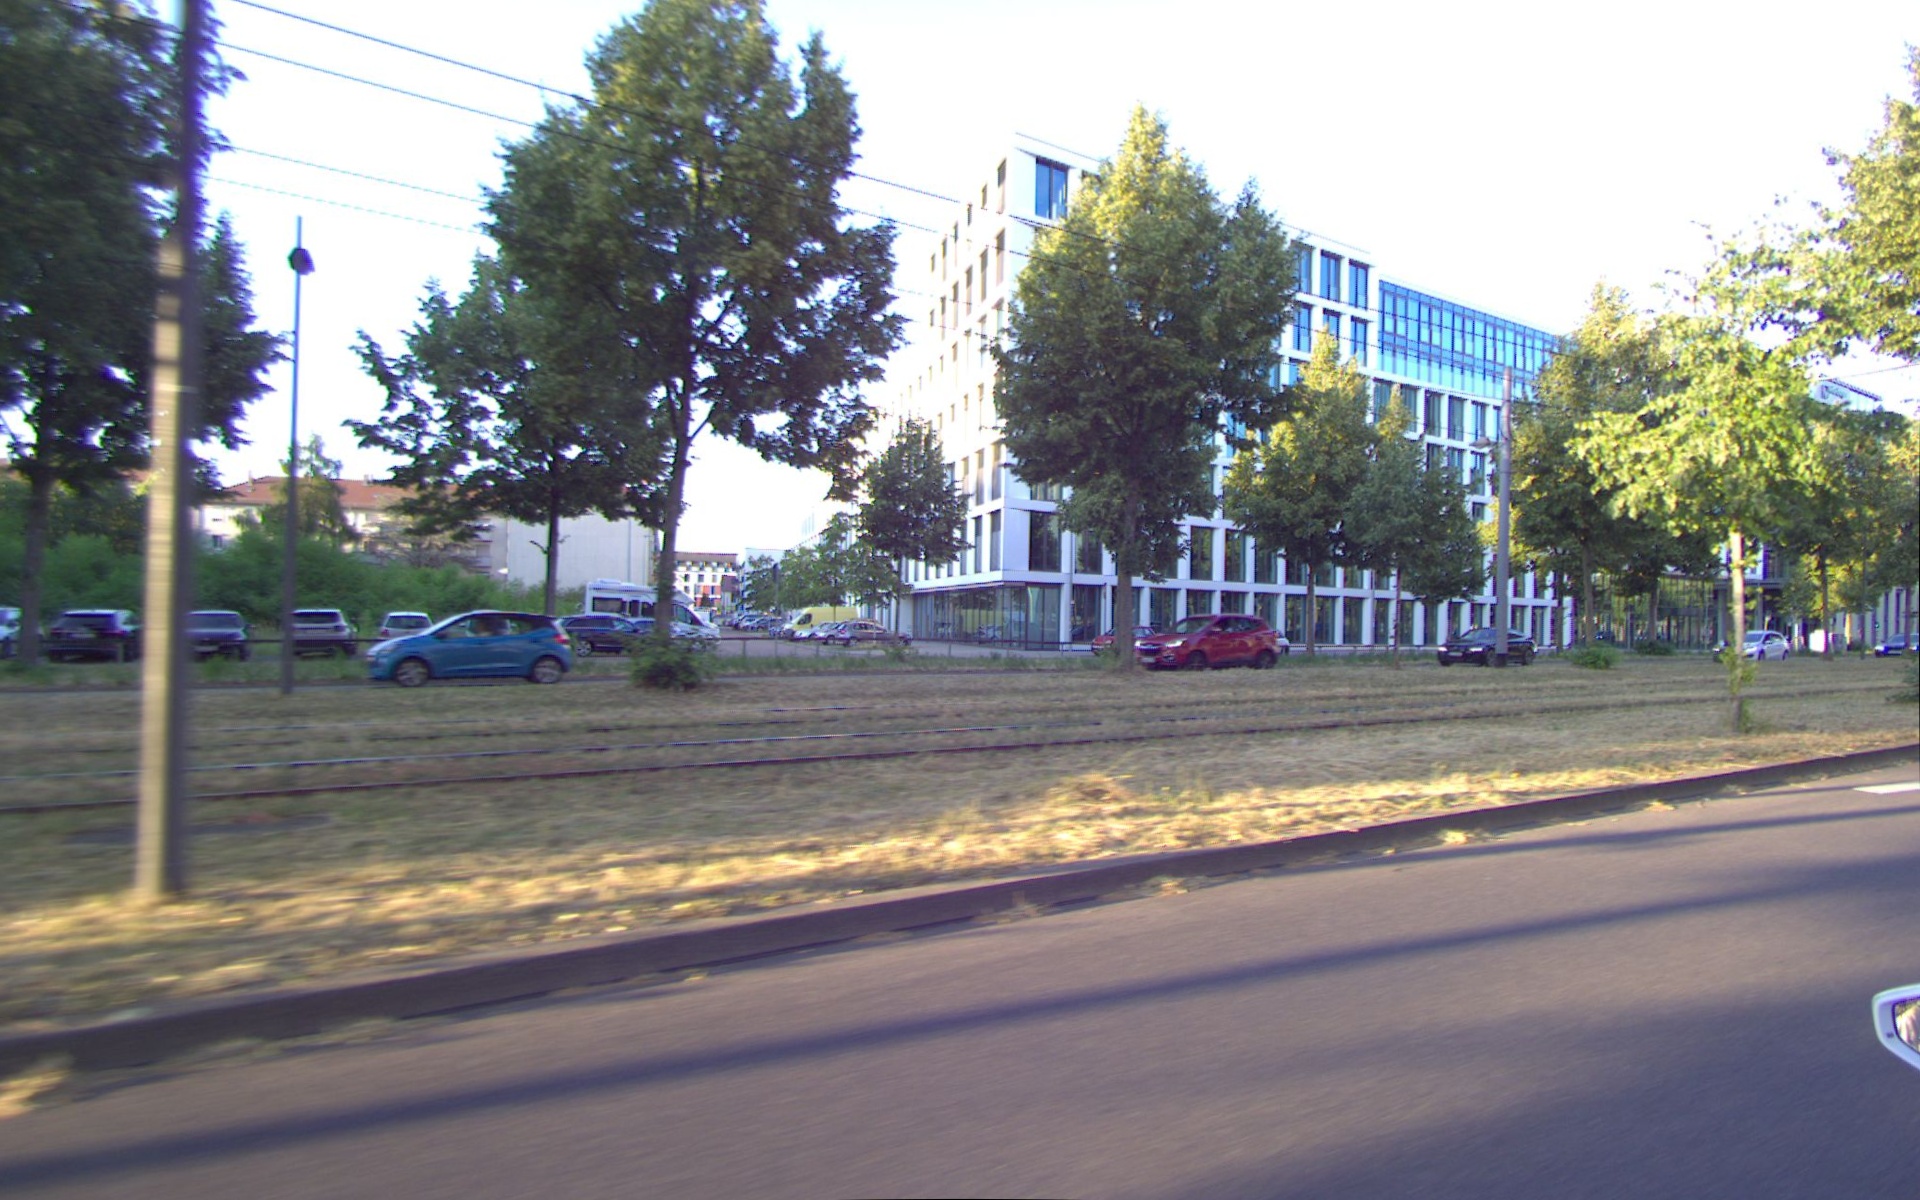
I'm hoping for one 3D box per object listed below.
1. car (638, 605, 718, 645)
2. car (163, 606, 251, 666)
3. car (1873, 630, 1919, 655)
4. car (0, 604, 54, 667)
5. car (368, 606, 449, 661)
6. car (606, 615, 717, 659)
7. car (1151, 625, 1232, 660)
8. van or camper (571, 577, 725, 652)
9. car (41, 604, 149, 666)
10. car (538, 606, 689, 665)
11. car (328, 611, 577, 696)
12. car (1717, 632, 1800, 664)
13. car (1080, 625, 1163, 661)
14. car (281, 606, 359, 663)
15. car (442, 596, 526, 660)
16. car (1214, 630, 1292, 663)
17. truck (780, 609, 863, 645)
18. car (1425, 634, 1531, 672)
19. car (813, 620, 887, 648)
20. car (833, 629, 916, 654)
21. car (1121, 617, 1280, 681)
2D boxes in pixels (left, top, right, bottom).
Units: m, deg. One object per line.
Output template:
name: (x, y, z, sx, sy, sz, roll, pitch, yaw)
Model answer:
car: (-16.944, 1.509, 60.392, 4.438, 2.338, 2.098, 1, -1, -21)
car: (-22.359, 1.031, 29.956, 1.903, 1.661, 3.961, 2, -1, -35)
car: (53.558, 2.393, 56.921, 4.692, 1.350, 1.647, 2, -1, -34)
car: (-26.786, 0.924, 27.401, 1.896, 1.661, 3.976, 1, -1, -24)
car: (-17.979, 1.057, 32.673, 1.903, 1.661, 3.961, 2, -1, -35)
car: (-11.906, 1.482, 40.129, 3.951, 1.661, 1.908, 2, -1, -29)
car: (11.325, 2.075, 49.115, 3.623, 1.602, 1.850, 2, -1, -31)
van or camper: (-13.918, 0.679, 44.894, 6.184, 3.126, 2.699, 2, -1, -28)
car: (-24.704, 0.963, 28.825, 1.903, 1.661, 3.961, 2, -1, -35)
car: (-12.609, 1.287, 36.682, 4.879, 2.040, 1.982, 2, -1, -33)
car: (-10.079, 1.024, 20.055, 4.240, 1.528, 1.907, 2, -1, -32)
car: (35.819, 2.143, 45.035, 4.483, 1.350, 1.647, 2, -1, -34)
car: (7.518, 1.989, 46.785, 3.452, 1.602, 1.850, 2, -1, -31)
car: (-20.154, 1.050, 31.577, 1.903, 1.661, 3.961, 2, -1, -35)
car: (-16.403, 0.952, 34.489, 1.980, 2.040, 3.962, 2, -1, -34)
car: (15.121, 2.391, 51.786, 3.741, 1.602, 1.850, 2, -1, -31)
truck: (-9.819, 1.902, 70.991, 5.490, 2.413, 1.990, 1, -1, -21)
car: (19.589, 1.978, 37.904, 4.427, 1.350, 1.647, 2, -1, -34)
car: (-6.765, 2.105, 61.680, 4.214, 1.610, 1.760, 2, -1, -21)
car: (-4.647, 2.233, 54.334, 4.186, 1.277, 1.738, 2, -1, -19)
car: (6.537, 1.291, 27.184, 4.139, 1.599, 1.874, 2, -1, -34)
